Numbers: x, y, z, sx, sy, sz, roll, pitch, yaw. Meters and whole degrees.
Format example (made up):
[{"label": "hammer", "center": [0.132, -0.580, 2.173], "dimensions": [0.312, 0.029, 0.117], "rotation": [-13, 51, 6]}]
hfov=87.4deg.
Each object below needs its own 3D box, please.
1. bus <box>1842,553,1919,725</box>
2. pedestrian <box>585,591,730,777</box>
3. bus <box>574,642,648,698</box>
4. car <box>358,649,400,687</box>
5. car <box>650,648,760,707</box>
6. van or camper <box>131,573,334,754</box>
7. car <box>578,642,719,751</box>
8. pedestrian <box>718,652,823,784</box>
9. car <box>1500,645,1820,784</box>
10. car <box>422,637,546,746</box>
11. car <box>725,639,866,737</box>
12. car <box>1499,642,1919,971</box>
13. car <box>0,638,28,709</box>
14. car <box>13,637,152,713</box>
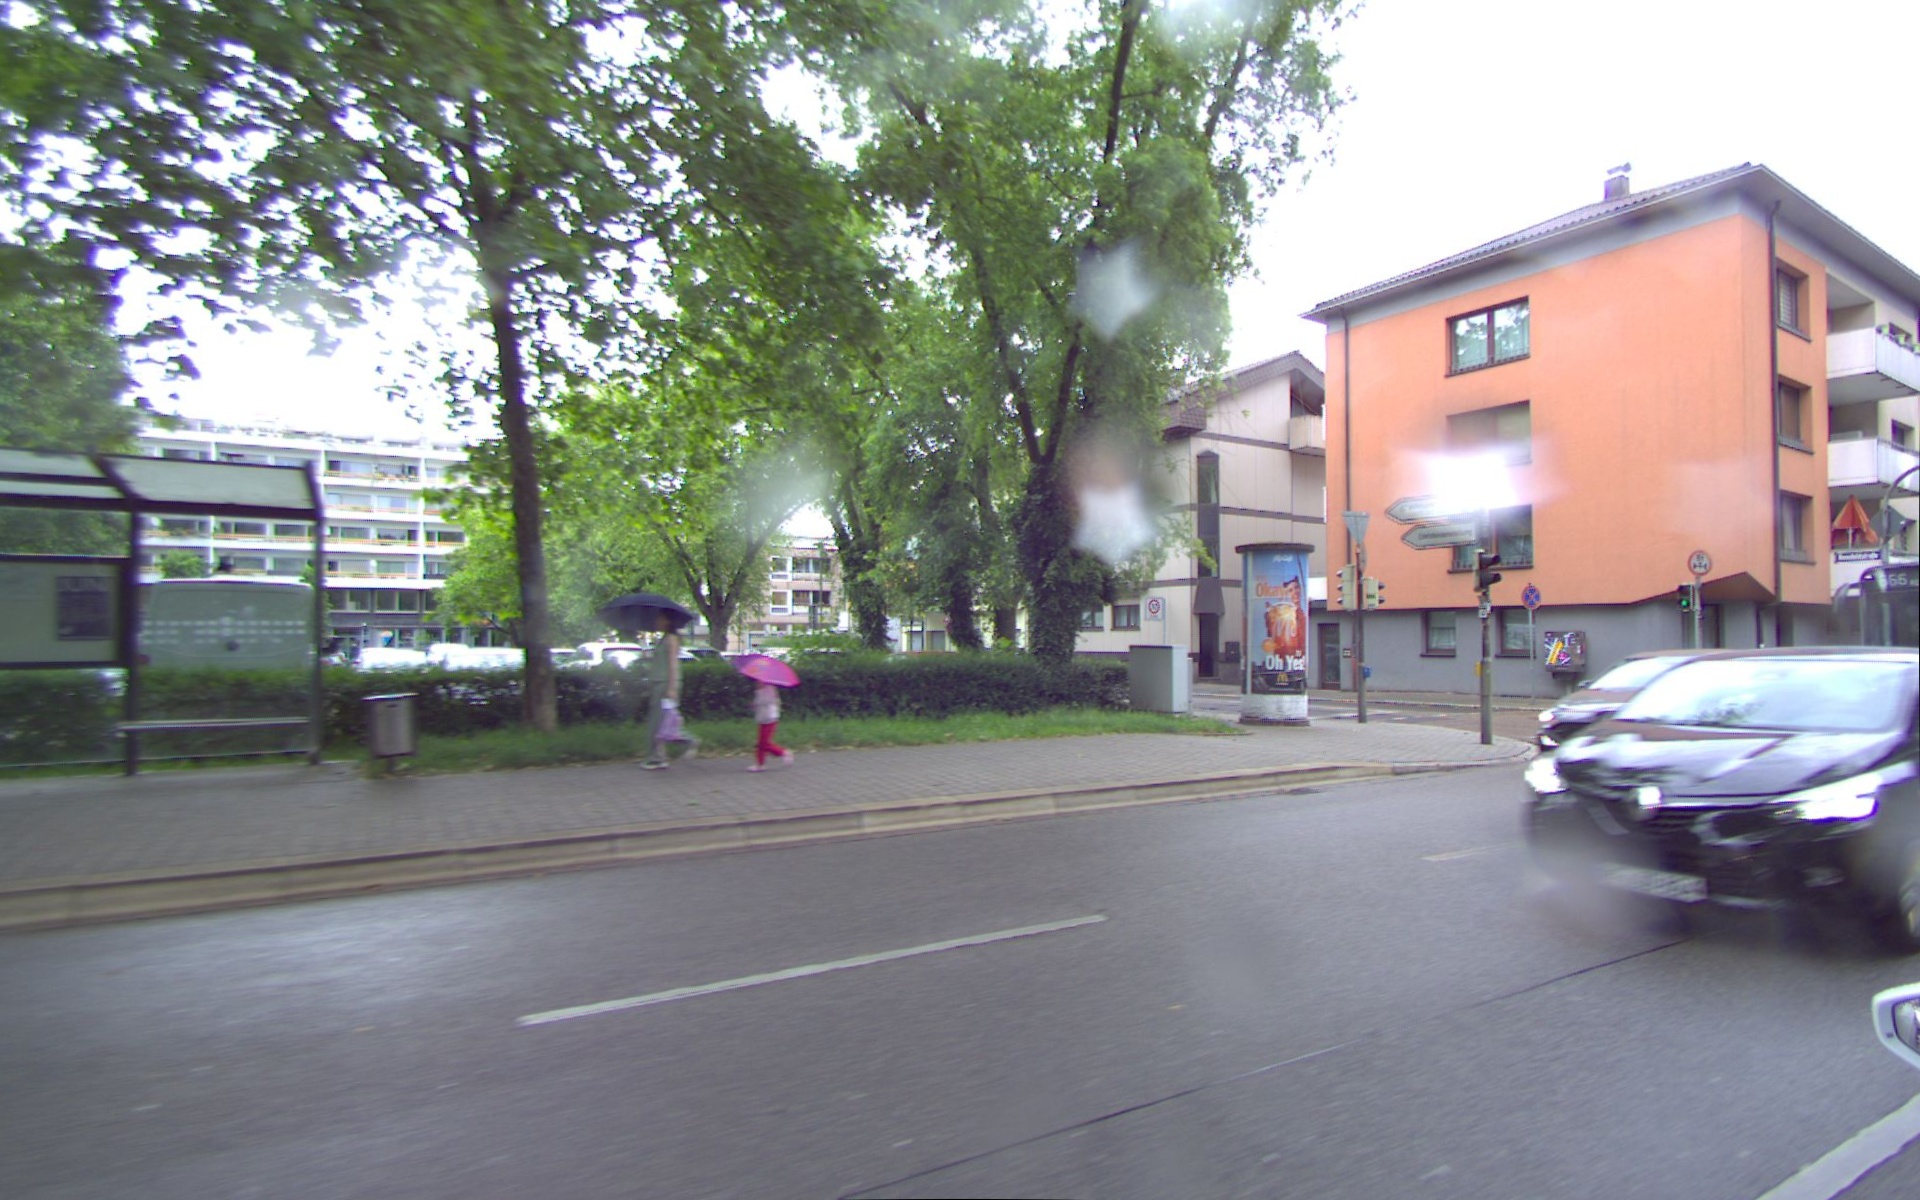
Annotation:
[{"label": "bus", "center": [22.009, 0.826, 20.409], "dimensions": [11.647, 3.013, 2.753], "rotation": [2, -3, -31]}, {"label": "pedestrian", "center": [-3.109, 0.811, 10.291], "dimensions": [1.196, 1.765, 0.986], "rotation": [1, 0, -31]}, {"label": "bus", "center": [-9.551, 1.876, 27.414], "dimensions": [1.365, 1.451, 2.776], "rotation": [2, -3, -31]}, {"label": "car", "center": [-22.545, 2.610, 38.932], "dimensions": [1.333, 1.401, 3.140], "rotation": [2, -3, -31]}, {"label": "car", "center": [-7.253, 2.120, 28.306], "dimensions": [1.799, 1.535, 3.964], "rotation": [2, -3, -33]}, {"label": "van or camper", "center": [-10.368, 0.889, 14.628], "dimensions": [2.026, 2.198, 4.457], "rotation": [2, -3, -33]}, {"label": "car", "center": [-5.388, 1.558, 17.168], "dimensions": [1.492, 1.544, 3.173], "rotation": [2, 0, -33]}, {"label": "pedestrian", "center": [-1.870, 1.128, 9.893], "dimensions": [0.817, 1.190, 0.680], "rotation": [1, 0, -31]}, {"label": "car", "center": [8.687, 1.303, 12.397], "dimensions": [3.986, 1.435, 1.799], "rotation": [1, -4, -32]}, {"label": "car", "center": [-8.183, 1.469, 17.147], "dimensions": [1.492, 1.544, 3.173], "rotation": [2, 0, -33]}, {"label": "car", "center": [-3.191, 1.594, 19.068], "dimensions": [1.492, 1.544, 3.173], "rotation": [2, 0, -33]}, {"label": "car", "center": [5.000, 0.974, 5.979], "dimensions": [3.414, 1.433, 1.617], "rotation": [1, -3, -30]}, {"label": "car", "center": [-20.909, 1.530, 20.791], "dimensions": [1.712, 1.481, 3.812], "rotation": [1, -3, -33]}, {"label": "car", "center": [-18.859, 1.568, 21.748], "dimensions": [1.712, 1.481, 3.812], "rotation": [1, -3, -33]}]
